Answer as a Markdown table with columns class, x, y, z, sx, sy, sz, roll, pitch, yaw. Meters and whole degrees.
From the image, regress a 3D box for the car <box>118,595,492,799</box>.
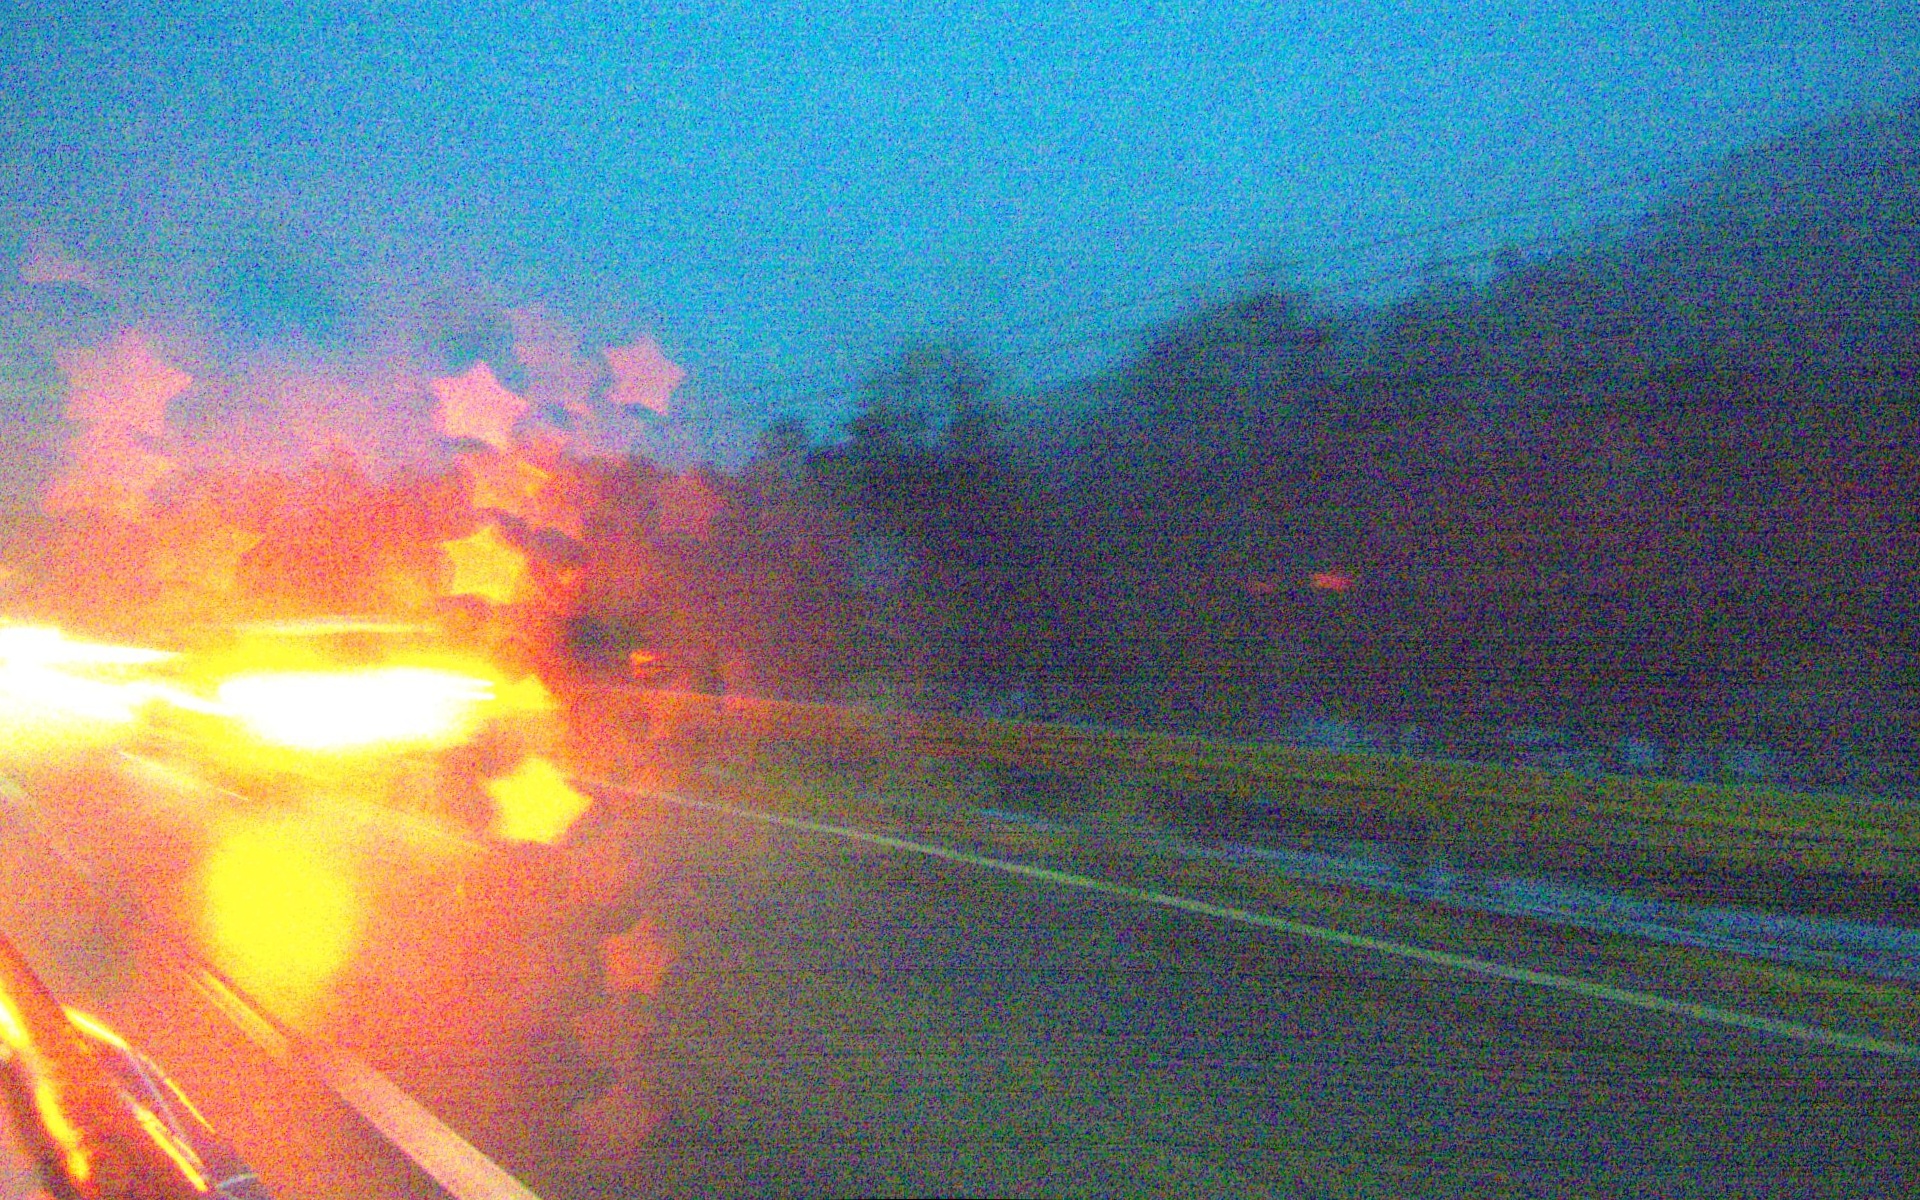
| class | x | y | z | sx | sy | sz | roll | pitch | yaw |
| --- | --- | --- | --- | --- | --- | --- | --- | --- | --- |
| car | -6.310 | 0.735 | 9.557 | 4.246 | 1.491 | 1.825 | -1 | 0 | 40 |

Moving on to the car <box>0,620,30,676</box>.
| class | x | y | z | sx | sy | sz | roll | pitch | yaw |
| --- | --- | --- | --- | --- | --- | --- | --- | --- | --- |
| car | -27.448 | 1.330 | 28.116 | 3.922 | 1.486 | 1.973 | -1 | 0 | 41 |
